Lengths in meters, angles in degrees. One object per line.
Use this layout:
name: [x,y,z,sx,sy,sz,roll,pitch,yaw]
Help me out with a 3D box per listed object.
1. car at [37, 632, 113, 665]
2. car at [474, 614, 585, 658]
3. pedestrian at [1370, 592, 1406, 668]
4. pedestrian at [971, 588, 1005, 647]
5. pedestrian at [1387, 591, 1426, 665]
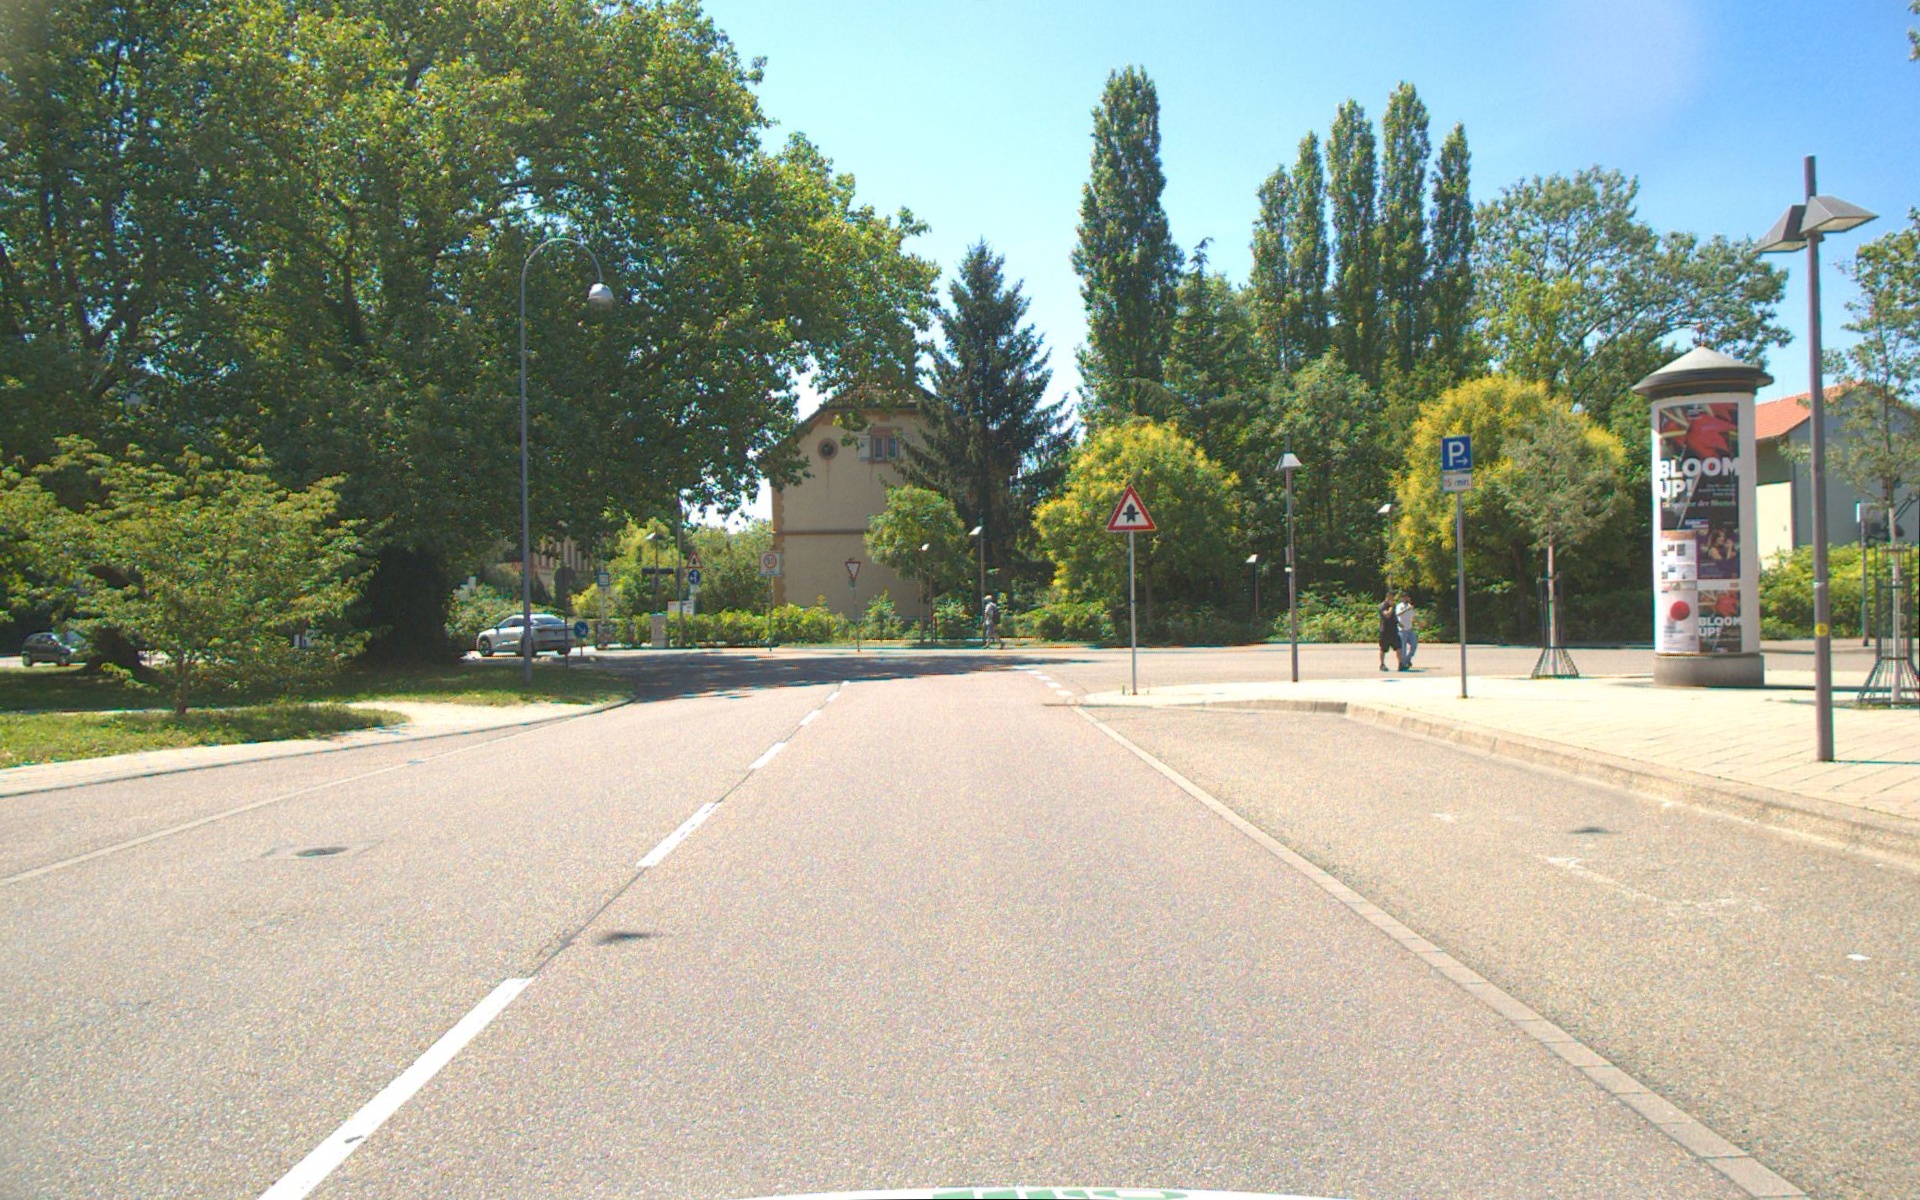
car: [-38.129,2.085,71.228,4.124,1.333,1.632,-2,-1,43]
car: [-17.321,1.436,66.443,4.691,1.655,1.978,-2,0,41]
pedestrian: [9.589,0.687,37.044,0.623,1.678,0.750,-1,-3,27]
pedestrian: [0.955,0.607,56.455,0.799,2.000,0.844,0,-1,-41]
pedestrian: [10.317,0.665,38.198,0.706,1.678,0.750,-1,-3,27]
